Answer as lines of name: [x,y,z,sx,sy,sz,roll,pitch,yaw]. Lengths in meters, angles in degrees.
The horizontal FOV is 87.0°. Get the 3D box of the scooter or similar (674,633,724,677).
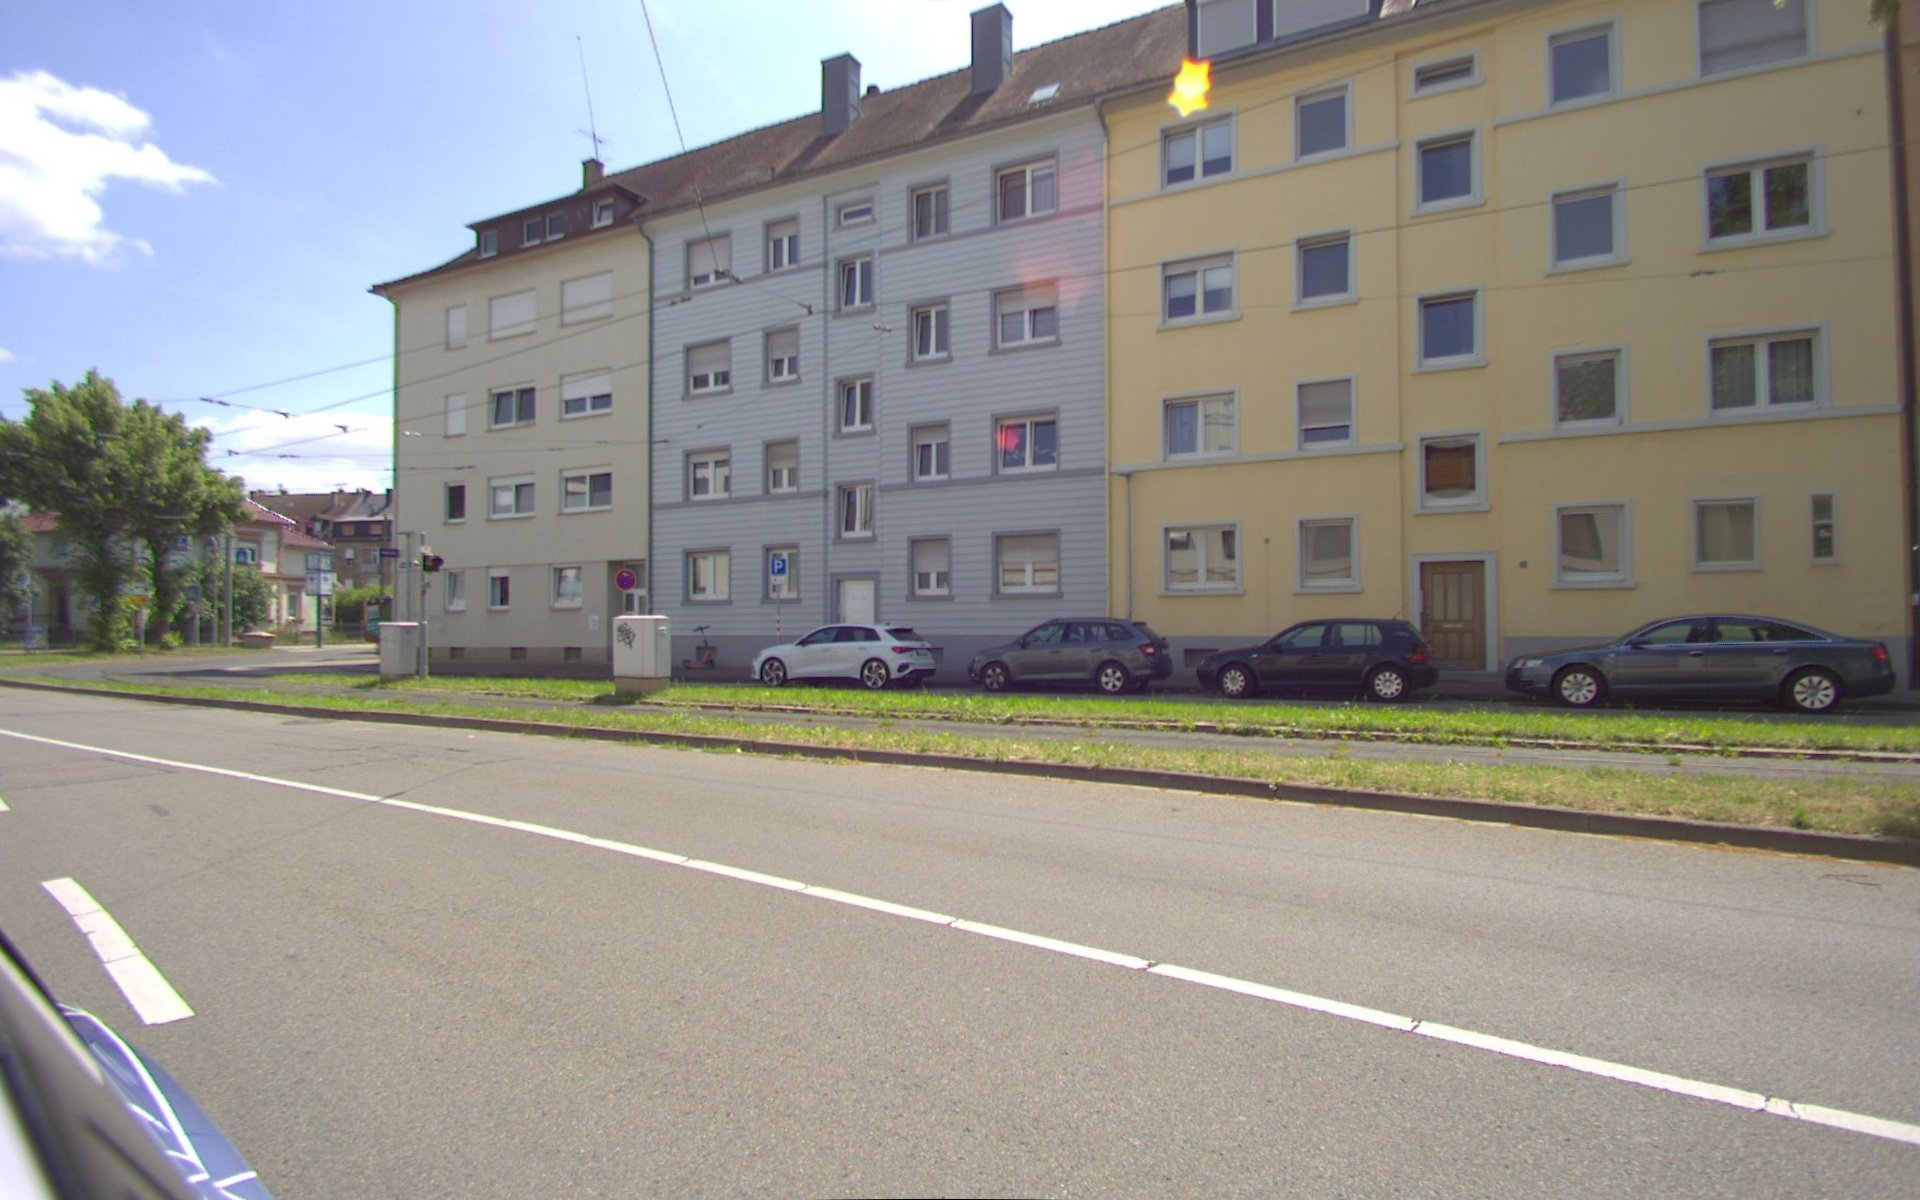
scooter or similar: [-7.459,1.561,28.909,1.314,1.232,0.634,-1,-1,28]

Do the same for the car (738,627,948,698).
car: [-2.626,1.405,22.694,4.352,1.462,1.917,-1,-5,26]

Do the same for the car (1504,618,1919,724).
car: [11.089,1.051,15.475,4.841,1.409,1.915,-2,-4,29]

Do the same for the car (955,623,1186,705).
car: [2.225,1.275,20.504,4.302,1.516,1.917,-1,-3,26]

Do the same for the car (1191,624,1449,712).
car: [6.389,1.178,18.031,4.123,1.411,1.819,-2,-3,28]

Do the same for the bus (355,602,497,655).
bus: [-36.748,2.057,70.333,2.678,3.322,10.824,-1,-3,10]
